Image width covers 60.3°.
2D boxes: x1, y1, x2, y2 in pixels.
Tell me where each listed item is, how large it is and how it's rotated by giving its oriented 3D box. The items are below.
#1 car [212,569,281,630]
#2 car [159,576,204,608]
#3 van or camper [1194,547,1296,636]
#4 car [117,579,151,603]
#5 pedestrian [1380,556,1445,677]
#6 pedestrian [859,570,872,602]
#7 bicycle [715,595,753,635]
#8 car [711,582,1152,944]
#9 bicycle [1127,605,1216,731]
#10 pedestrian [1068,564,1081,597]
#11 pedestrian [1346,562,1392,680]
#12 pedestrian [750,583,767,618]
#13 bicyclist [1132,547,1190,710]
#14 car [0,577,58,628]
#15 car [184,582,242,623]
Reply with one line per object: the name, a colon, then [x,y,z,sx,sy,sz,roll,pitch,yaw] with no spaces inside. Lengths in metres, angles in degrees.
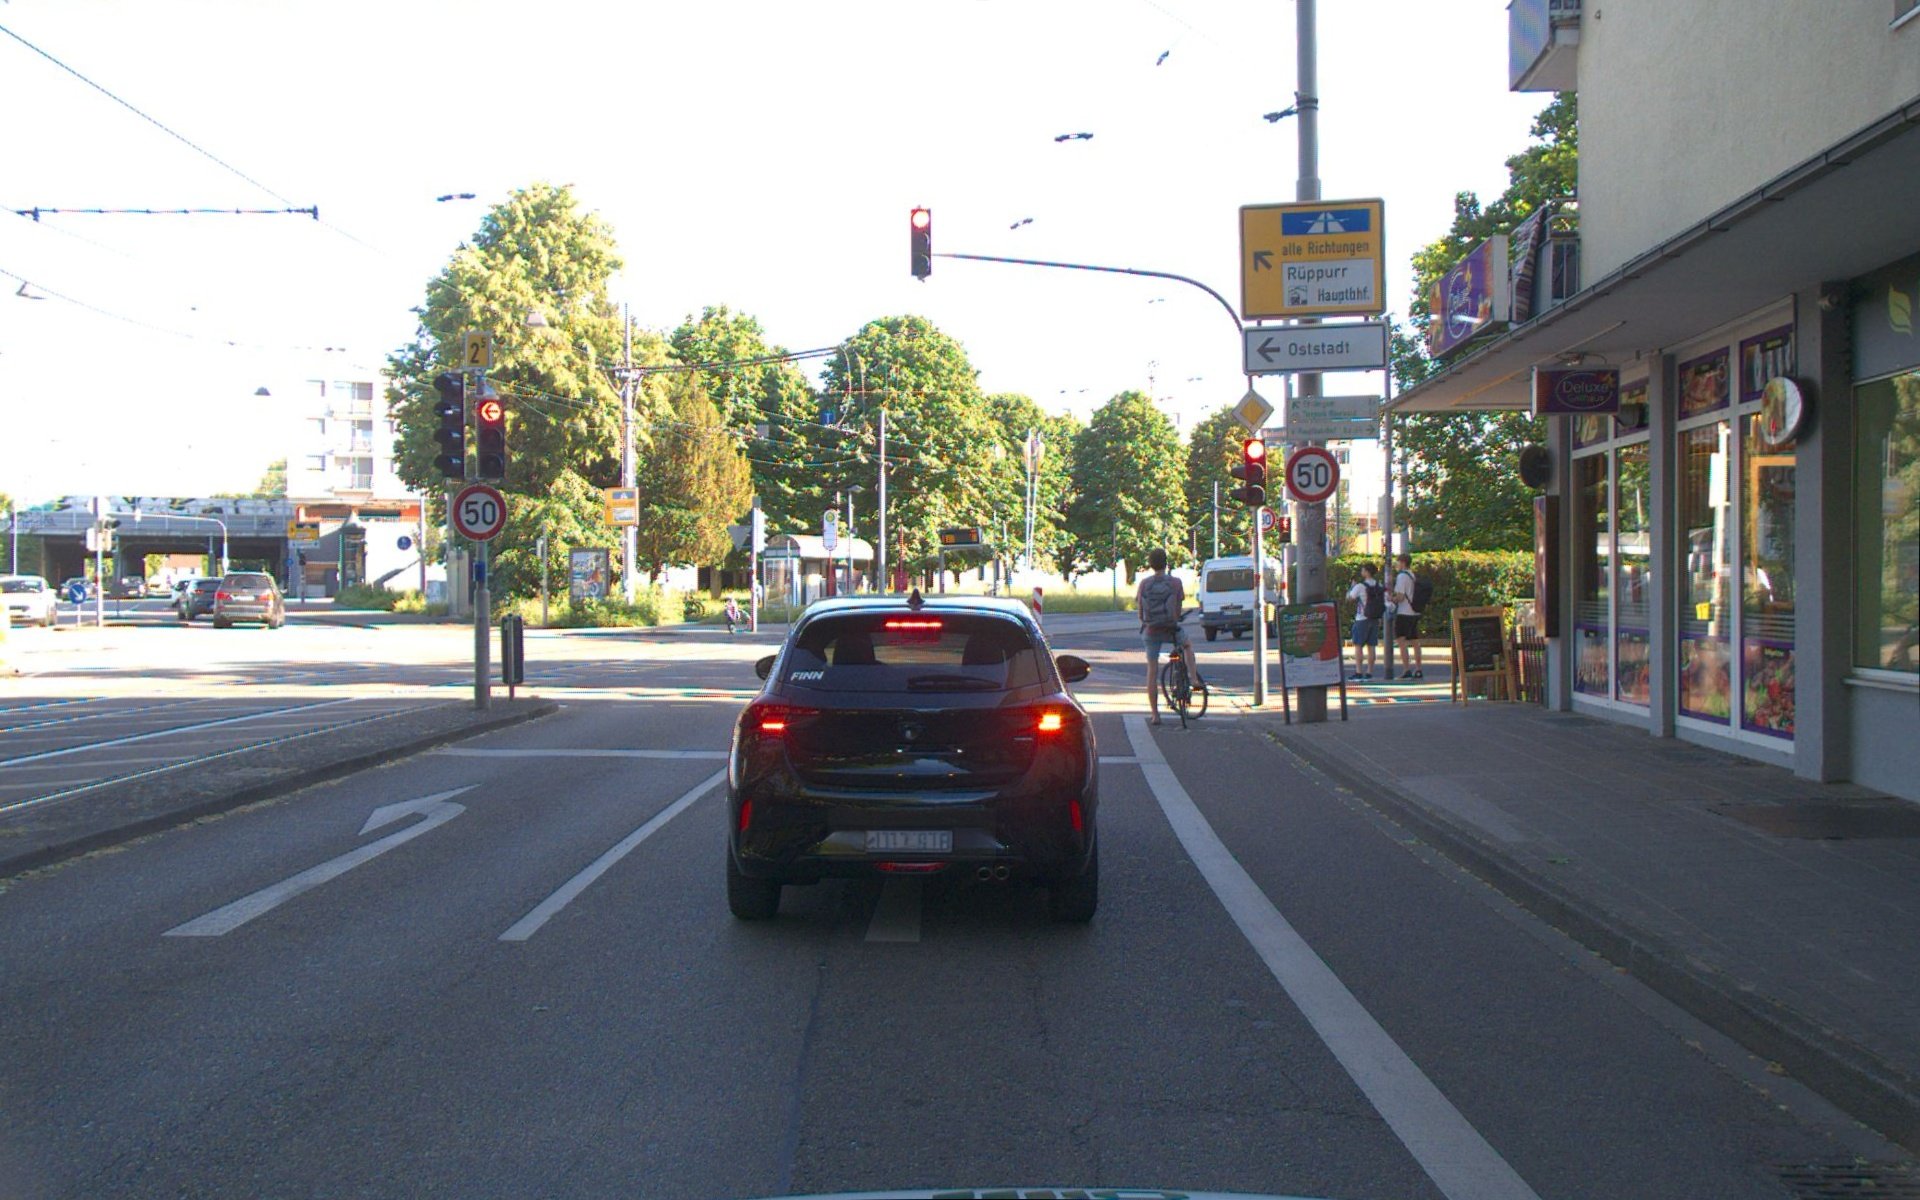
car: [-23.482,-0.037,54.337,1.885,1.914,4.806,-1,1,-26]
car: [-40.174,-0.398,85.290,1.967,1.579,4.160,1,0,-27]
van or camper: [8.054,-0.219,46.368,1.987,2.351,4.540,1,0,20]
car: [-55.978,-0.609,112.109,1.860,1.613,3.809,1,0,-24]
pedestrian: [7.010,0.256,25.645,0.626,1.852,0.738,1,-1,-30]
pedestrian: [-5.684,-0.809,99.375,0.723,1.904,0.661,1,-1,-7]
bicycle: [-6.306,0.404,46.216,0.780,1.083,2.184,0,1,-1]
car: [-0.144,0.650,8.787,1.803,1.487,3.983,0,1,-1]
bicycle: [2.321,0.693,17.931,0.737,1.256,2.017,0,1,14]
pedestrian: [6.613,-1.139,95.469,0.510,1.904,0.602,0,-1,40]
pedestrian: [6.313,0.316,25.534,0.620,1.794,0.582,1,-1,19]
pedestrian: [-8.647,0.005,70.910,0.558,1.498,0.666,0,0,7]
bicyclist: [2.161,0.298,17.757,0.522,1.722,0.568,0,0,16]
car: [-31.173,0.070,54.806,1.860,1.613,3.809,1,0,-24]
car: [-29.169,0.088,64.548,1.777,1.545,4.167,1,0,-28]
